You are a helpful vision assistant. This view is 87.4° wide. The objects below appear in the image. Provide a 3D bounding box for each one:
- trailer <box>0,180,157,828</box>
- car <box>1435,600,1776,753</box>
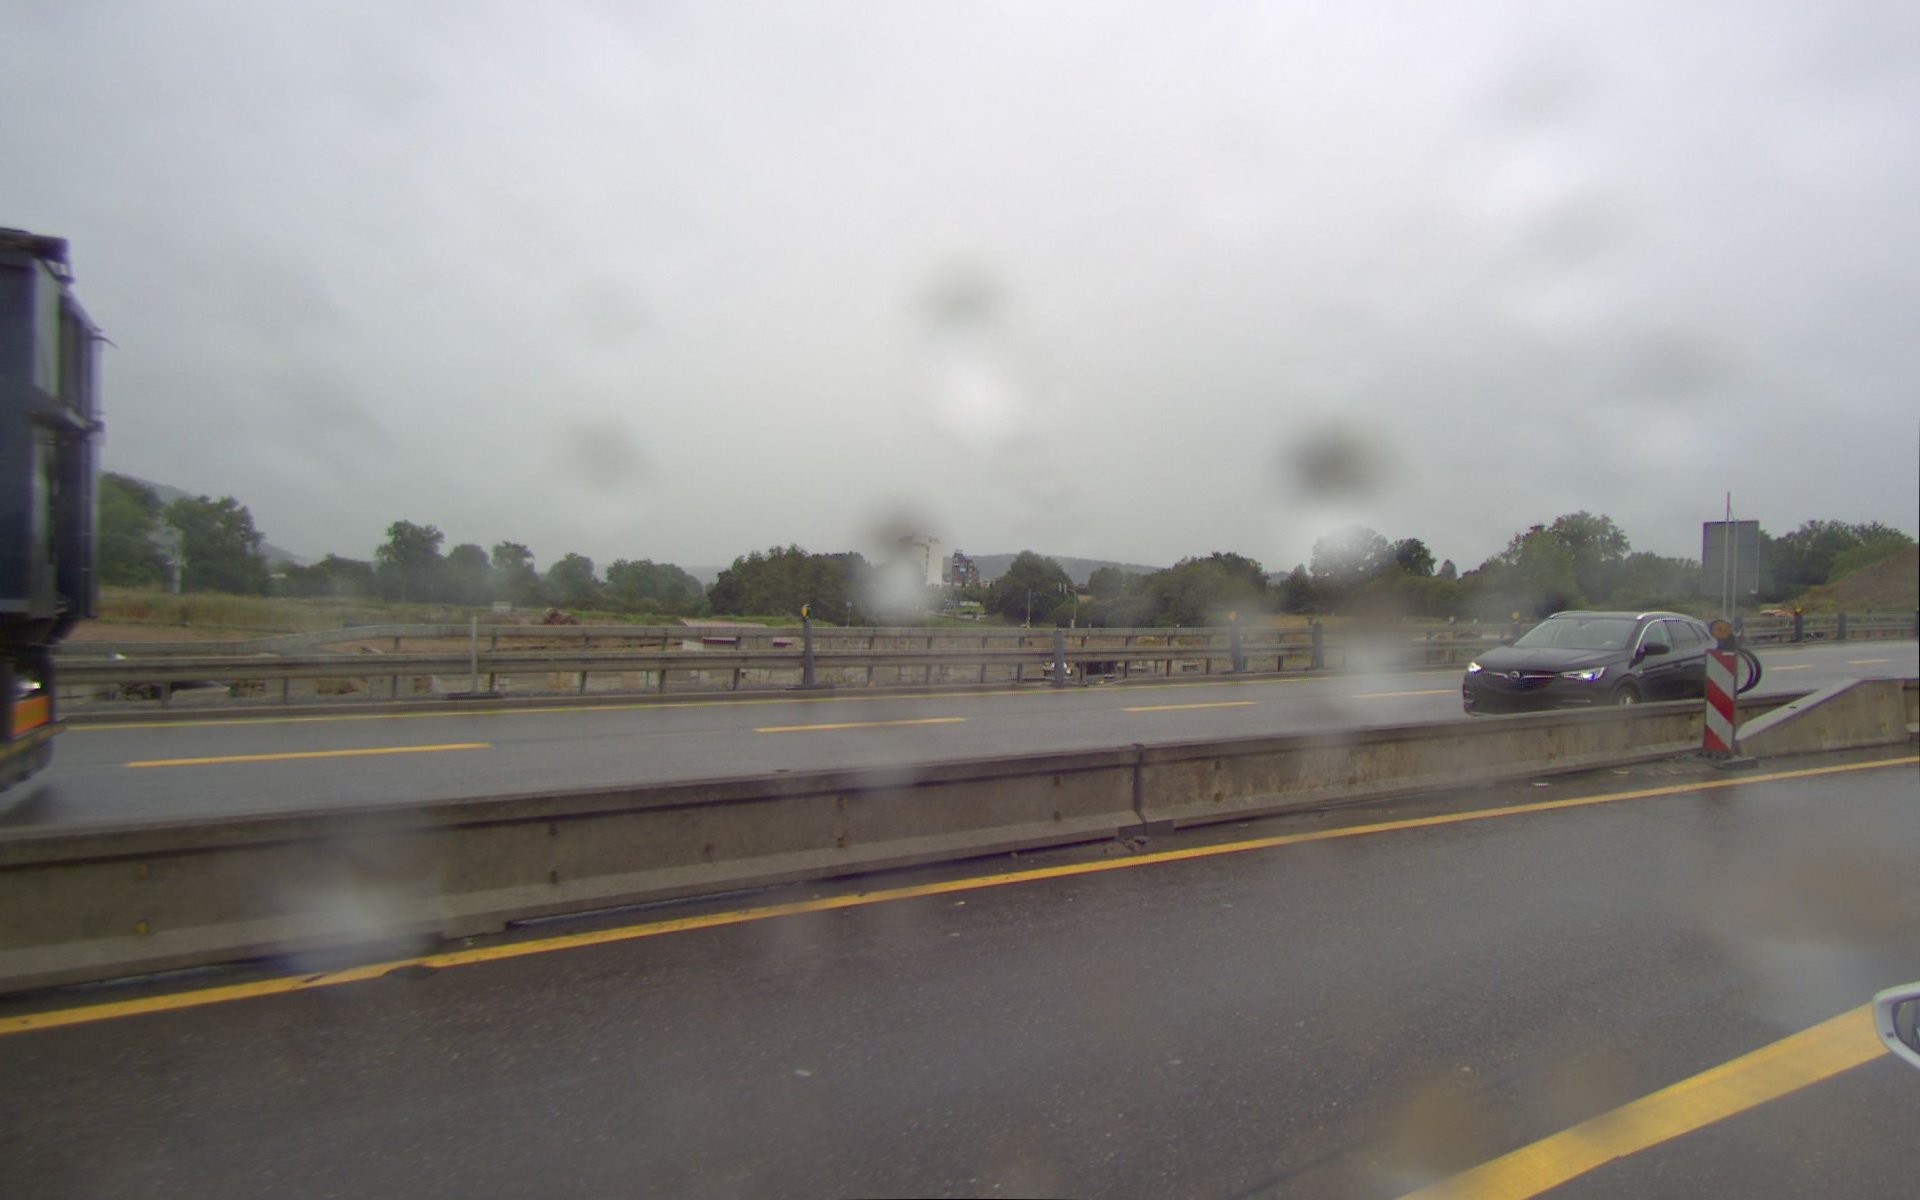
[{"bbox_3d":[-10.301,-0.697,4.965,9.573,4.023,2.729,2,-1,-34],"label":"trailer"},{"bbox_3d":[8.857,0.932,13.588,5.491,1.707,1.728,2,0,-33],"label":"car"}]
